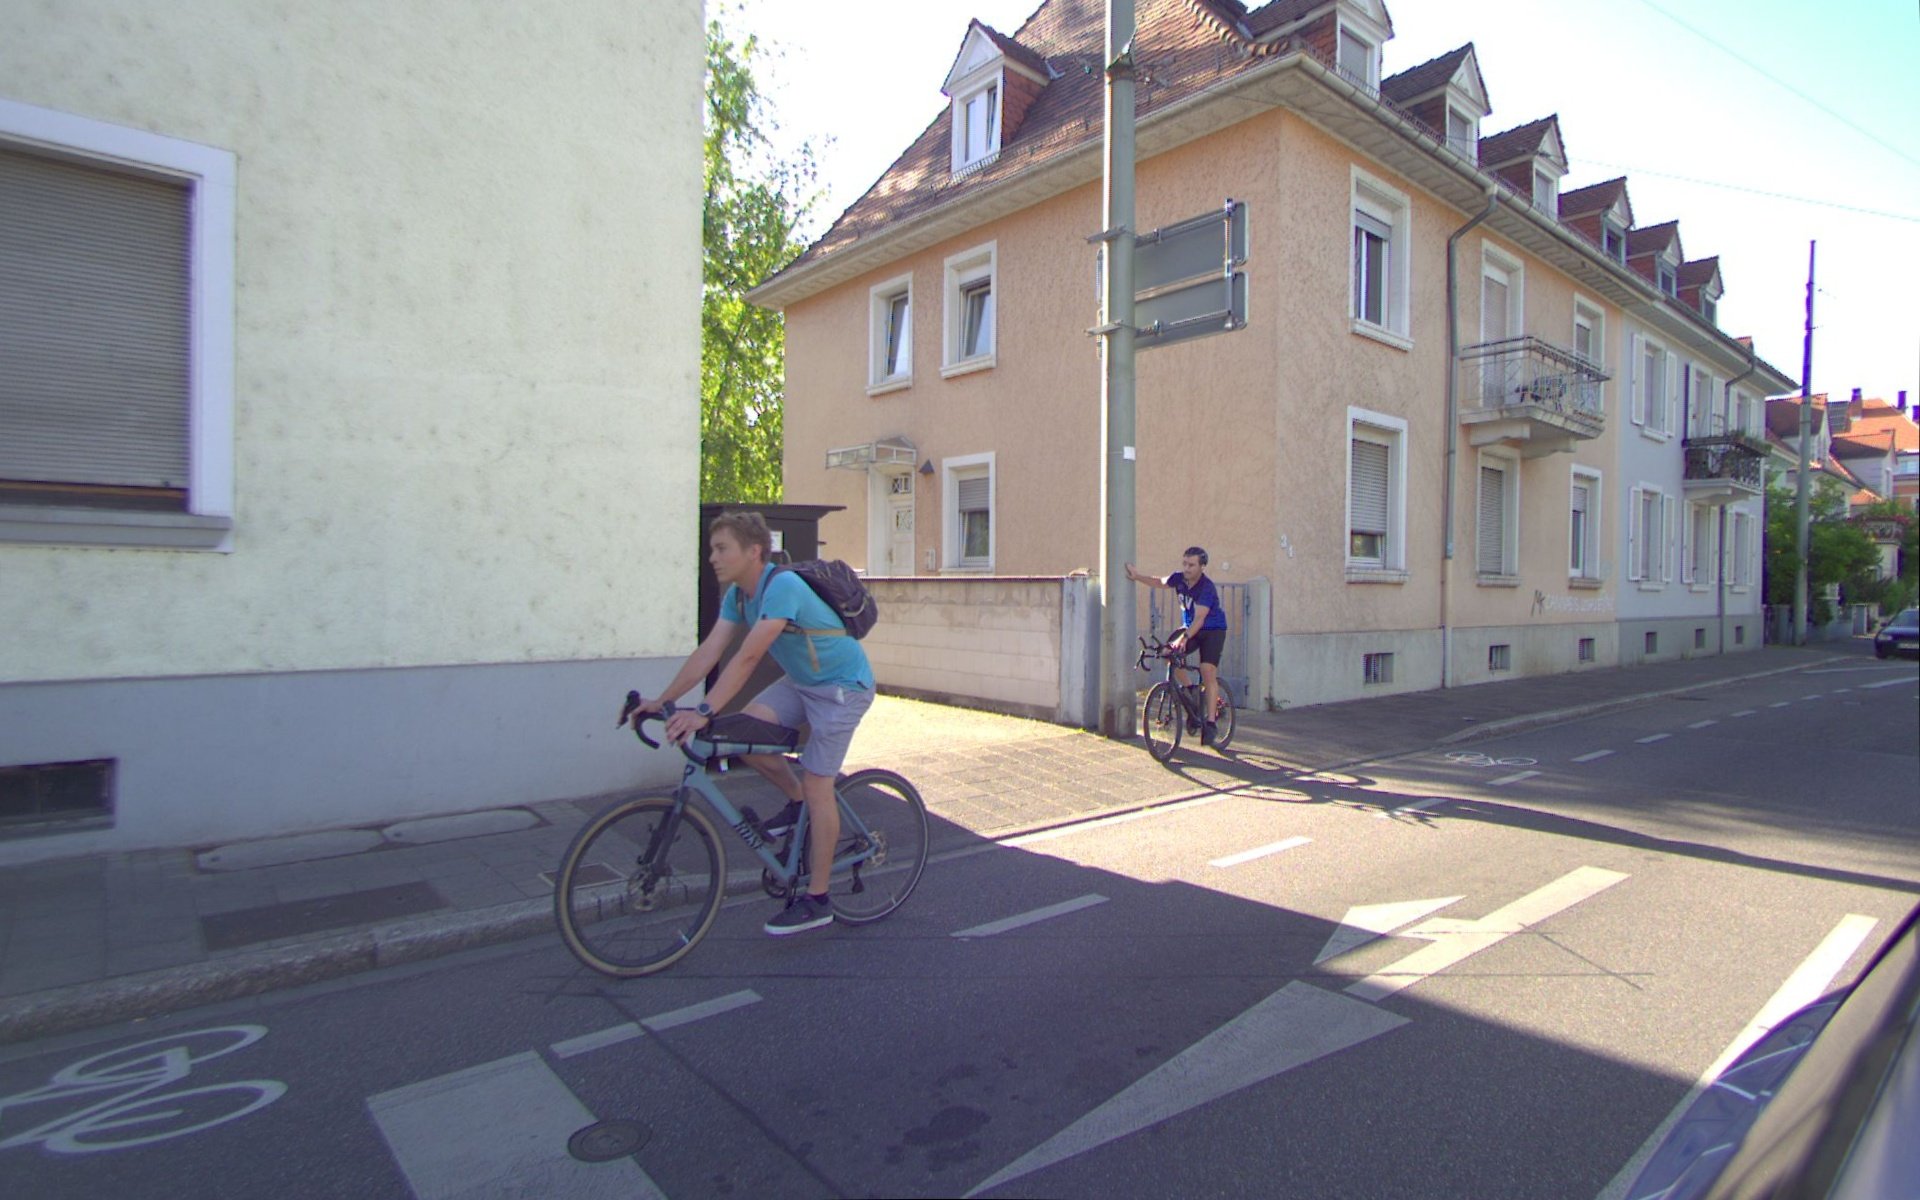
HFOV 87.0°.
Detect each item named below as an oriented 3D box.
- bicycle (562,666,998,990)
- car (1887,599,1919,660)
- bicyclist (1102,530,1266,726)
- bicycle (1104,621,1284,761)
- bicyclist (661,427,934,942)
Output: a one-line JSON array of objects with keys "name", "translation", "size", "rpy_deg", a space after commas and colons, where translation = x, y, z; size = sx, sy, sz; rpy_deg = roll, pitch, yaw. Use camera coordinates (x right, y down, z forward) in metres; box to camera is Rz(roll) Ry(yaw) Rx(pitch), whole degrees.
[{"name": "bicycle", "translation": [-0.697, 0.857, 4.337], "size": [1.762, 1.105, 0.519], "rpy_deg": [3, -1, -38]}, {"name": "car", "translation": [26.693, 0.753, 27.369], "size": [3.742, 1.601, 1.696], "rpy_deg": [0, -1, -36]}, {"name": "bicyclist", "translation": [2.047, 0.218, 9.312], "size": [0.870, 1.627, 1.052], "rpy_deg": [1, 5, -41]}, {"name": "bicycle", "translation": [2.143, 0.772, 9.155], "size": [1.744, 1.081, 0.592], "rpy_deg": [0, 5, -41]}, {"name": "bicyclist", "translation": [-0.684, 0.335, 4.342], "size": [0.928, 1.959, 0.519], "rpy_deg": [4, -2, -38]}]
